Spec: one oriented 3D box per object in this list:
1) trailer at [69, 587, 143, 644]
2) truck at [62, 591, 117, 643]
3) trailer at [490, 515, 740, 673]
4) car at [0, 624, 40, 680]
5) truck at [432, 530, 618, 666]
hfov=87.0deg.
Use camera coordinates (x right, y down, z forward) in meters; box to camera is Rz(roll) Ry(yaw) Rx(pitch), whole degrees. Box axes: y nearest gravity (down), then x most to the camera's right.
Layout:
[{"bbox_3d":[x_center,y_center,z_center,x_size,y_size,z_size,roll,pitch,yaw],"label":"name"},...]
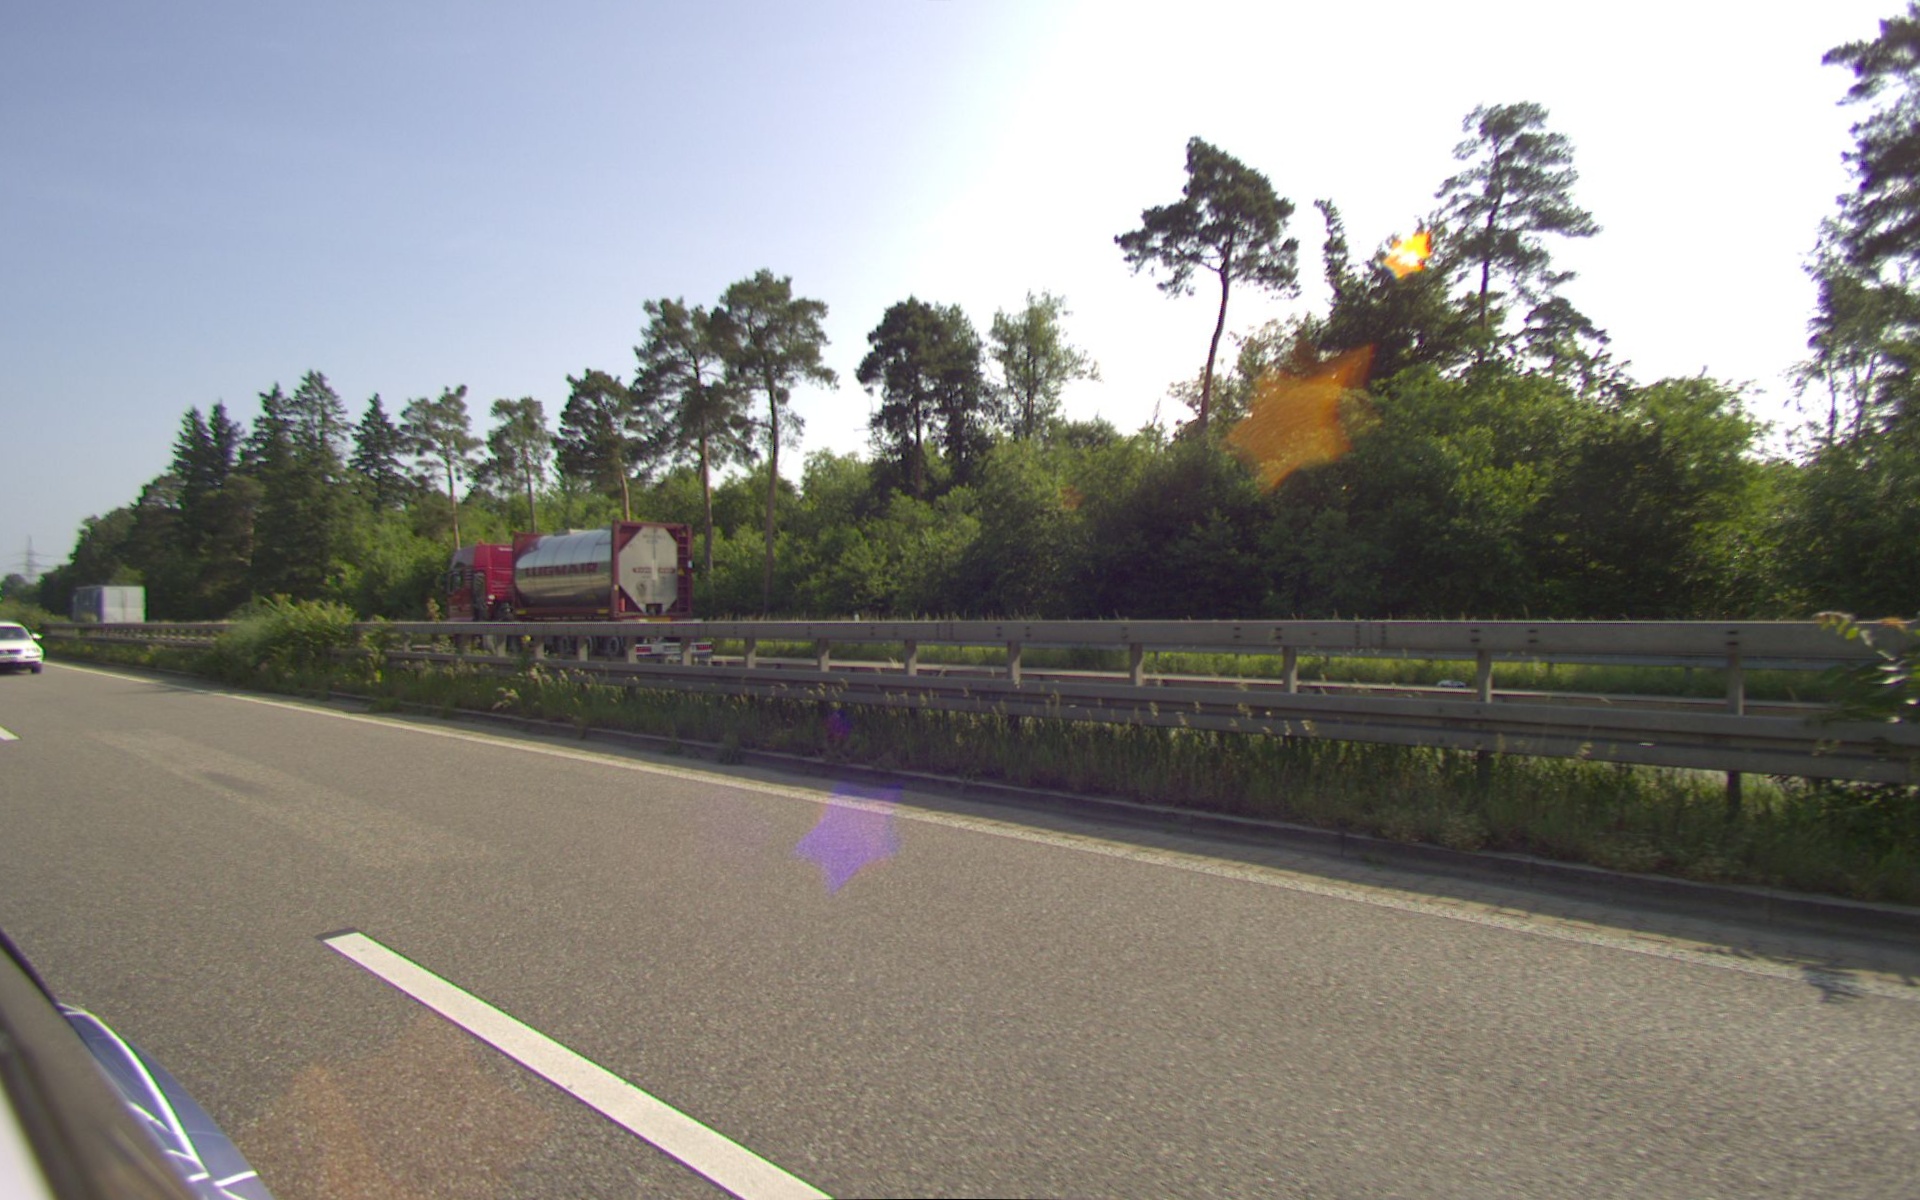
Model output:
[{"bbox_3d":[-68.875,1.319,81.503,13.074,4.232,2.663,-2,-2,42],"label":"trailer"},{"bbox_3d":[-74.181,1.454,86.217,6.291,4.232,2.681,-2,-2,41],"label":"truck"},{"bbox_3d":[-10.436,-0.117,30.020,8.369,4.070,3.261,-1,0,41],"label":"trailer"},{"bbox_3d":[-27.606,1.443,28.778,5.264,1.497,1.730,-1,-1,43],"label":"car"},{"bbox_3d":[-14.491,-0.051,33.545,6.229,4.069,3.233,-1,0,40],"label":"truck"}]
